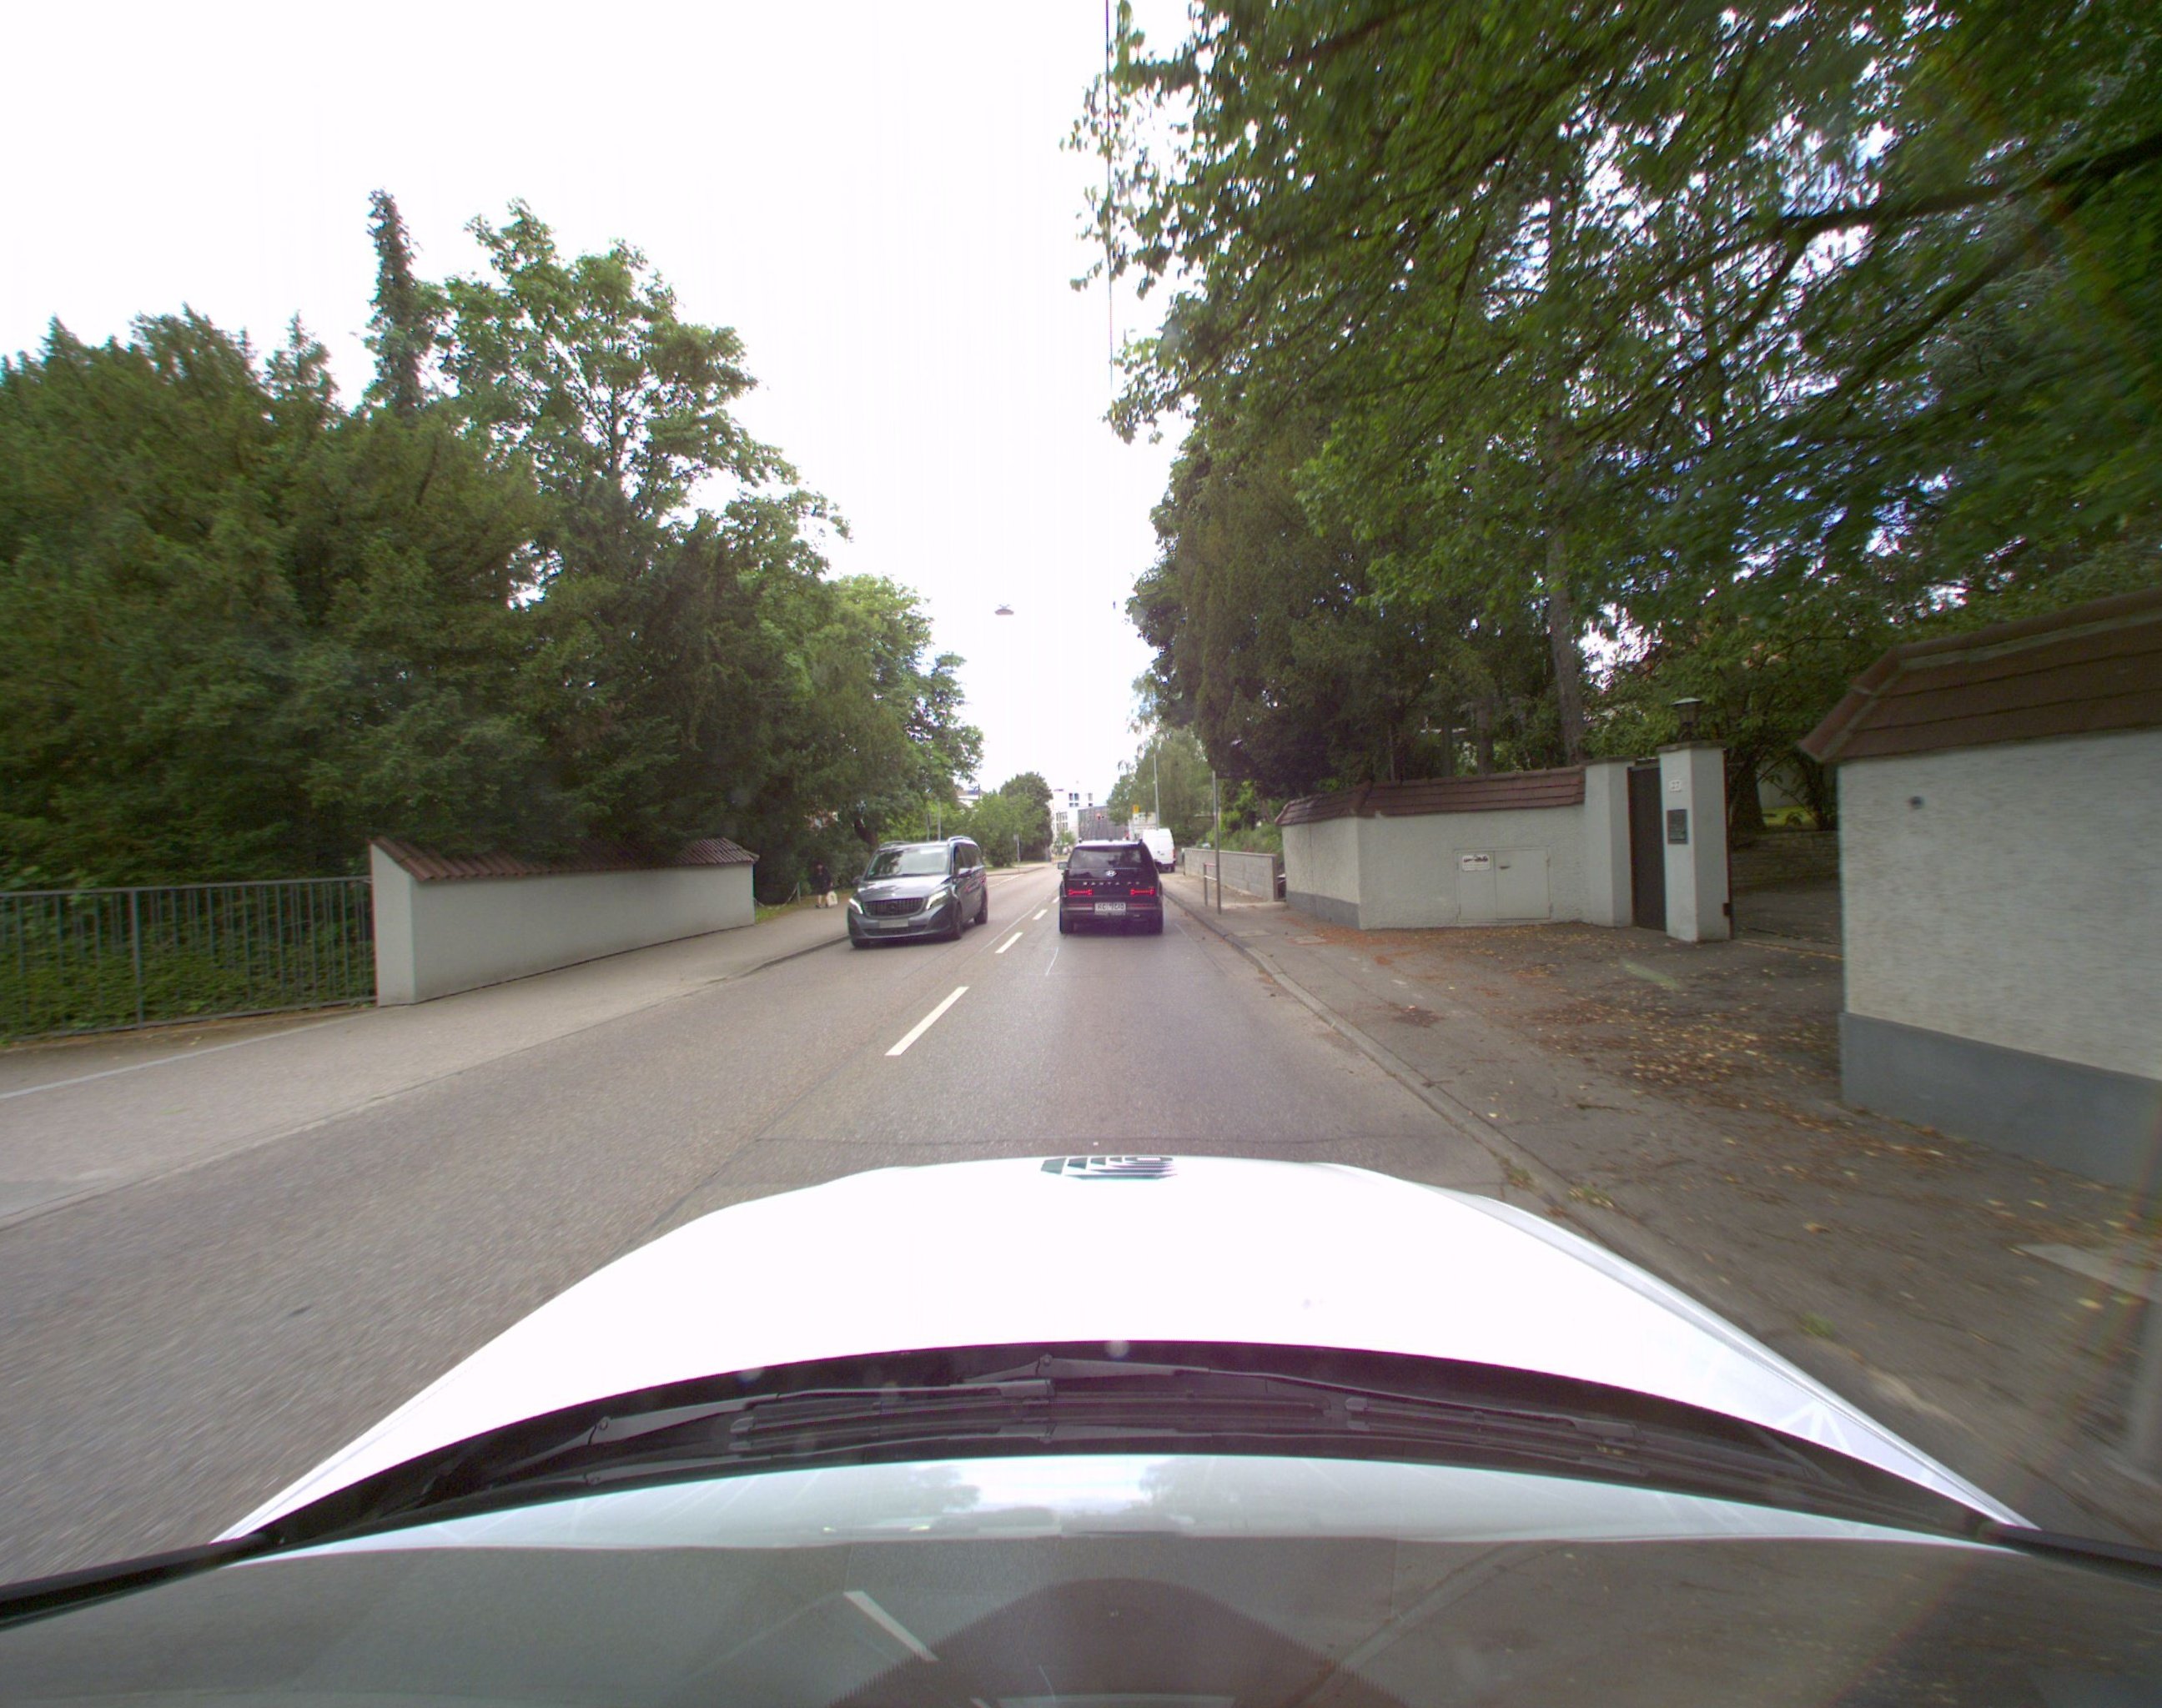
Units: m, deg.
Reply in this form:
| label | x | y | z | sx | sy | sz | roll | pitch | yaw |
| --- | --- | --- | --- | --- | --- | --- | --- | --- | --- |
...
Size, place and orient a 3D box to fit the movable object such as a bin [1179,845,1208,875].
| label | x | y | z | sx | sy | sz | roll | pitch | yaw |
| --- | --- | --- | --- | --- | --- | --- | --- | --- | --- |
| movable object such as a bin | 5.814 | 0.308 | 42.119 | 1.295 | 1.450 | 1.181 | -3 | 0 | 2 |

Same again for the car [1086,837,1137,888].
| label | x | y | z | sx | sy | sz | roll | pitch | yaw |
| --- | --- | --- | --- | --- | --- | --- | --- | --- | --- |
| car | 1.240 | 0.319 | 33.705 | 1.956 | 2.001 | 4.001 | -1 | 0 | 1 |

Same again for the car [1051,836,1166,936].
| label | x | y | z | sx | sy | sz | roll | pitch | yaw |
| --- | --- | --- | --- | --- | --- | --- | --- | --- | --- |
| car | 0.545 | 0.535 | 16.009 | 1.956 | 1.711 | 4.002 | -1 | 0 | 2 |

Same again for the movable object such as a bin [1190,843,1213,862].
| label | x | y | z | sx | sy | sz | roll | pitch | yaw |
| --- | --- | --- | --- | --- | --- | --- | --- | --- | --- |
| movable object such as a bin | 9.437 | -0.122 | 63.946 | 1.446 | 1.473 | 1.715 | -1 | 0 | -3 |

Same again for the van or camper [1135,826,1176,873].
| label | x | y | z | sx | sy | sz | roll | pitch | yaw |
| --- | --- | --- | --- | --- | --- | --- | --- | --- | --- |
| van or camper | 4.610 | -0.265 | 51.025 | 1.957 | 2.627 | 6.360 | -4 | 0 | 1 |

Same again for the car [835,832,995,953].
| label | x | y | z | sx | sy | sz | roll | pitch | yaw |
| --- | --- | --- | --- | --- | --- | --- | --- | --- | --- |
| car | -3.046 | 0.630 | 16.155 | 1.884 | 1.855 | 5.084 | -5 | 0 | 1 |

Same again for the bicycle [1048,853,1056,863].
| label | x | y | z | sx | sy | sz | roll | pitch | yaw |
| --- | --- | --- | --- | --- | --- | --- | --- | --- | --- |
| bicycle | -4.018 | 0.556 | 112.950 | 0.675 | 1.279 | 2.490 | 0 | -1 | -12 |

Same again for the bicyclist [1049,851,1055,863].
| label | x | y | z | sx | sy | sz | roll | pitch | yaw |
| --- | --- | --- | --- | --- | --- | --- | --- | --- | --- |
| bicyclist | -4.040 | 0.372 | 113.032 | 0.675 | 1.659 | 0.855 | 0 | -2 | -12 |

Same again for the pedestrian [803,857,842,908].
| label | x | y | z | sx | sy | sz | roll | pitch | yaw |
| --- | --- | --- | --- | --- | --- | --- | --- | --- | --- |
| pedestrian | -8.091 | 0.873 | 25.557 | 0.923 | 1.560 | 0.901 | 1 | -1 | -2 |
